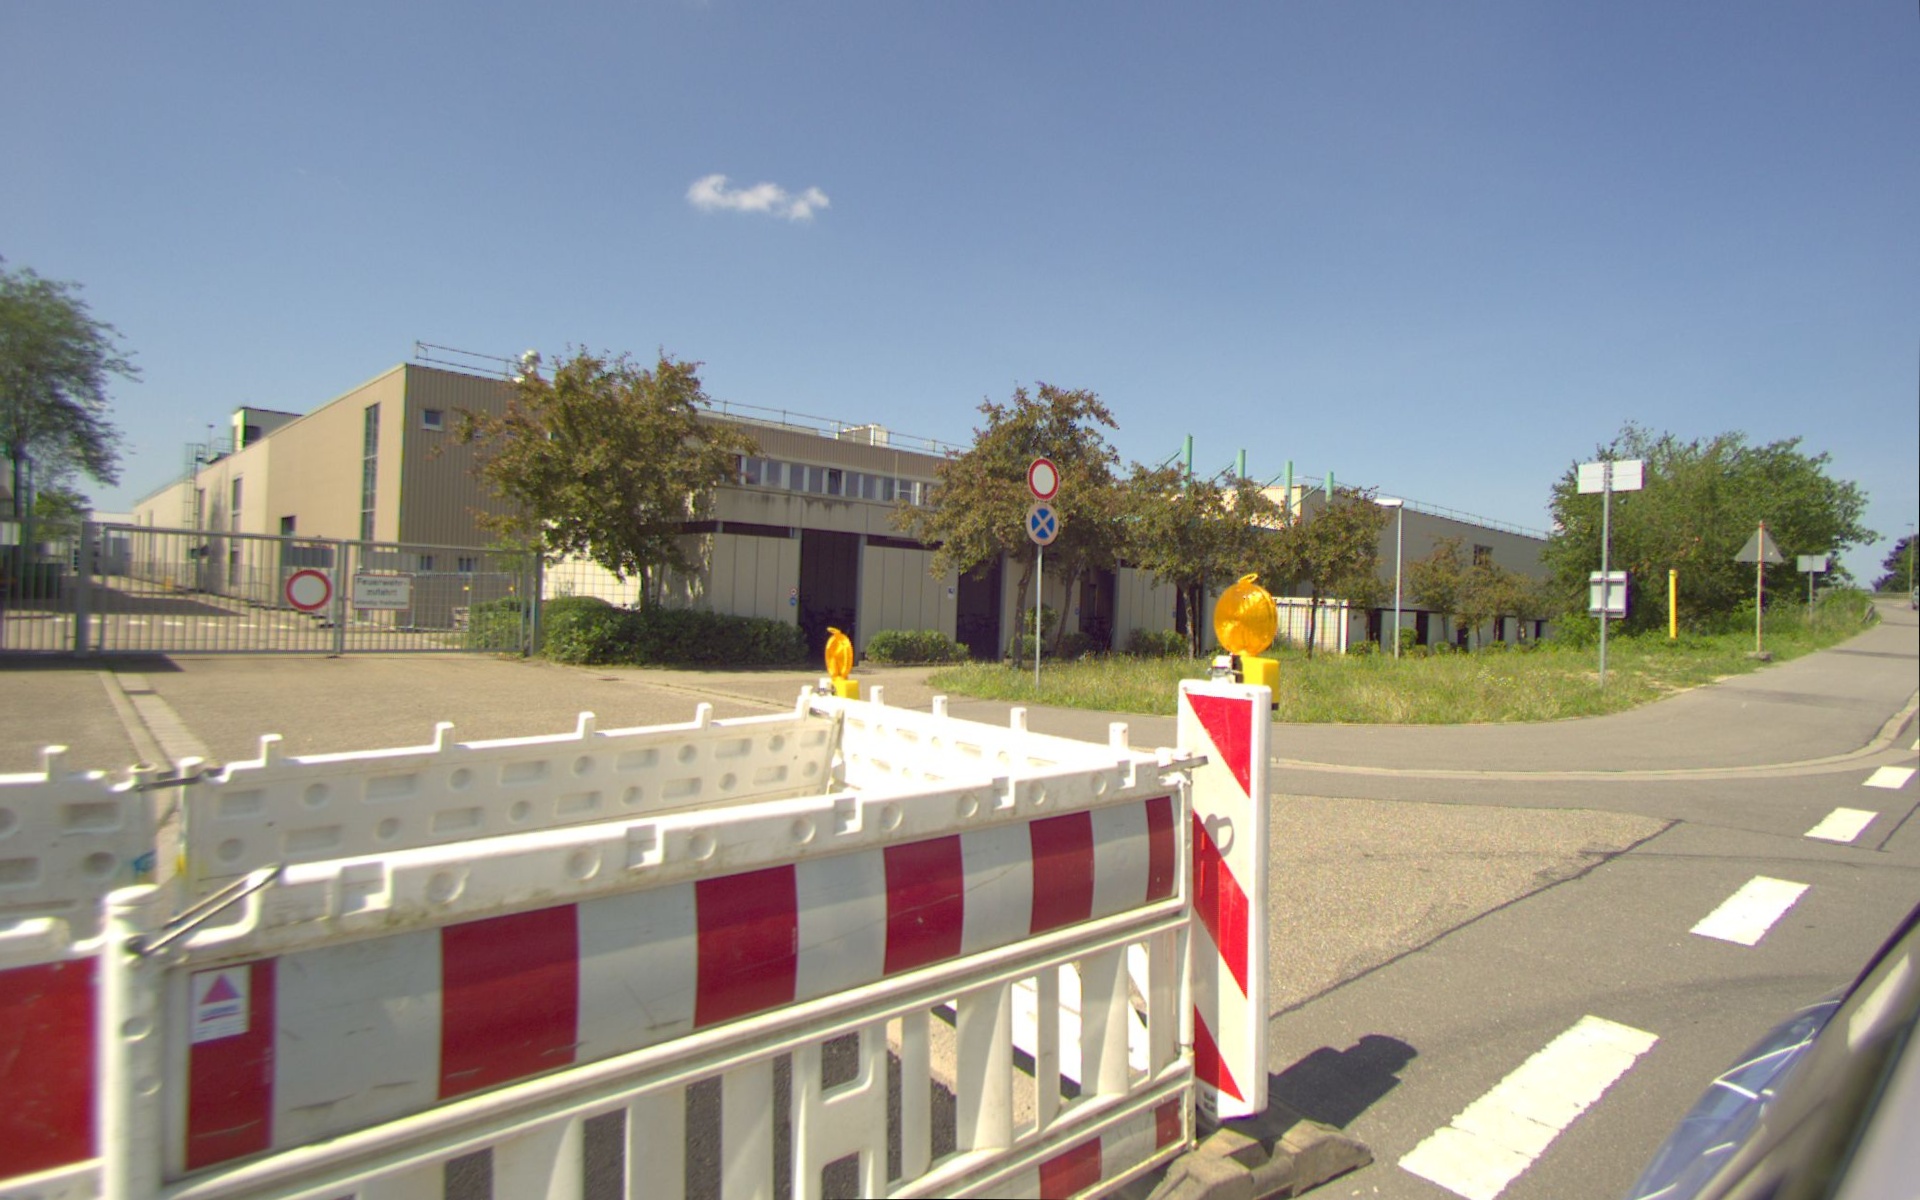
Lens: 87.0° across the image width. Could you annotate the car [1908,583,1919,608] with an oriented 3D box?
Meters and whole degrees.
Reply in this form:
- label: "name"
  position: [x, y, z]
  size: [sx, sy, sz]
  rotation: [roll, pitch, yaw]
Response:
- label: "car"
  position: [72.820, -0.417, 75.040]
  size: [2.069, 1.783, 4.251]
  rotation: [-6, -2, 22]
